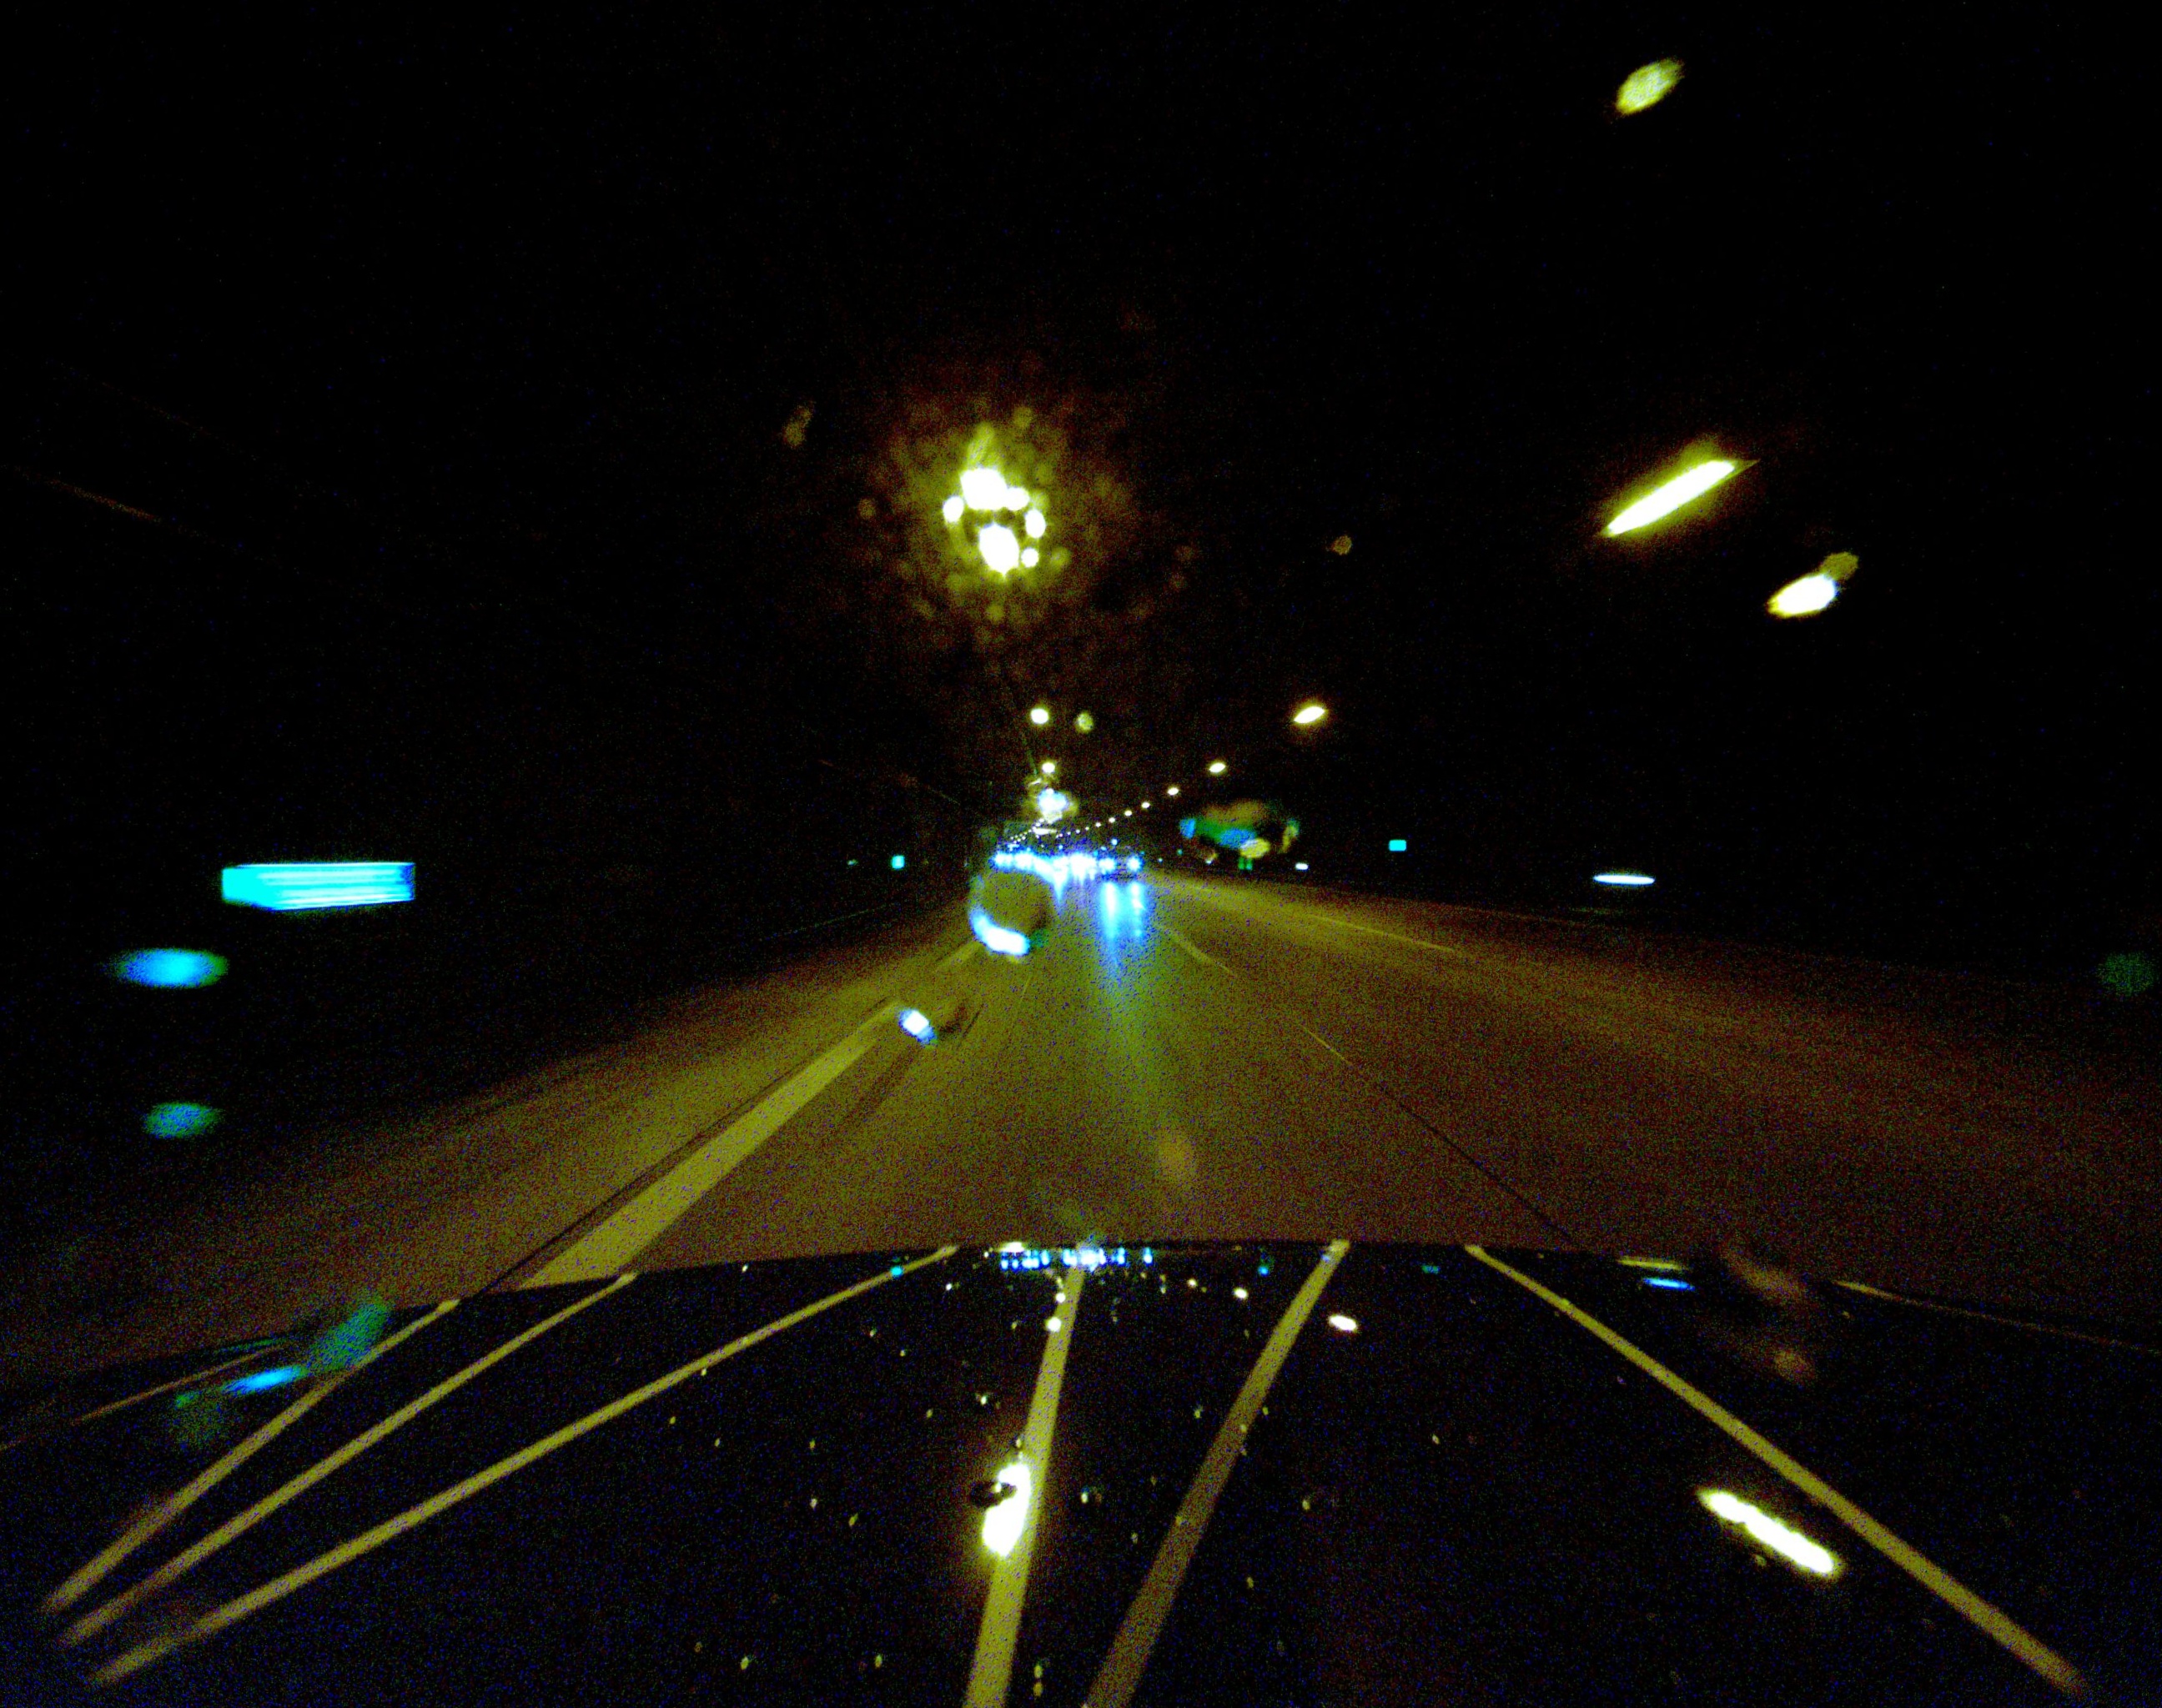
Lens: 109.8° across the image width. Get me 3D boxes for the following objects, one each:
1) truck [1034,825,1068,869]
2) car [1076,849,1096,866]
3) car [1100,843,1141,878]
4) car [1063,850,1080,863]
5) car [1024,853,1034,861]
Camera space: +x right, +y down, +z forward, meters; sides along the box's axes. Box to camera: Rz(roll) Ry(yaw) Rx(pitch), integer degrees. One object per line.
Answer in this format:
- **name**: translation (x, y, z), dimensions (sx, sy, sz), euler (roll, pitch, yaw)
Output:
- **truck**: translation (-3.114, -0.728, 76.464), dimensions (3.143, 4.136, 7.384), euler (-2, 1, -3)
- **car**: translation (0.480, 0.325, 78.665), dimensions (1.910, 1.637, 3.999), euler (-2, 0, -2)
- **car**: translation (2.396, 0.461, 47.047), dimensions (1.999, 2.001, 4.360), euler (-1, -1, -3)
- **car**: translation (-1.243, 0.362, 99.036), dimensions (1.759, 1.567, 3.998), euler (-2, 0, -5)
- **car**: translation (-12.090, 0.724, 176.277), dimensions (2.000, 1.729, 3.997), euler (-2, 0, -8)
